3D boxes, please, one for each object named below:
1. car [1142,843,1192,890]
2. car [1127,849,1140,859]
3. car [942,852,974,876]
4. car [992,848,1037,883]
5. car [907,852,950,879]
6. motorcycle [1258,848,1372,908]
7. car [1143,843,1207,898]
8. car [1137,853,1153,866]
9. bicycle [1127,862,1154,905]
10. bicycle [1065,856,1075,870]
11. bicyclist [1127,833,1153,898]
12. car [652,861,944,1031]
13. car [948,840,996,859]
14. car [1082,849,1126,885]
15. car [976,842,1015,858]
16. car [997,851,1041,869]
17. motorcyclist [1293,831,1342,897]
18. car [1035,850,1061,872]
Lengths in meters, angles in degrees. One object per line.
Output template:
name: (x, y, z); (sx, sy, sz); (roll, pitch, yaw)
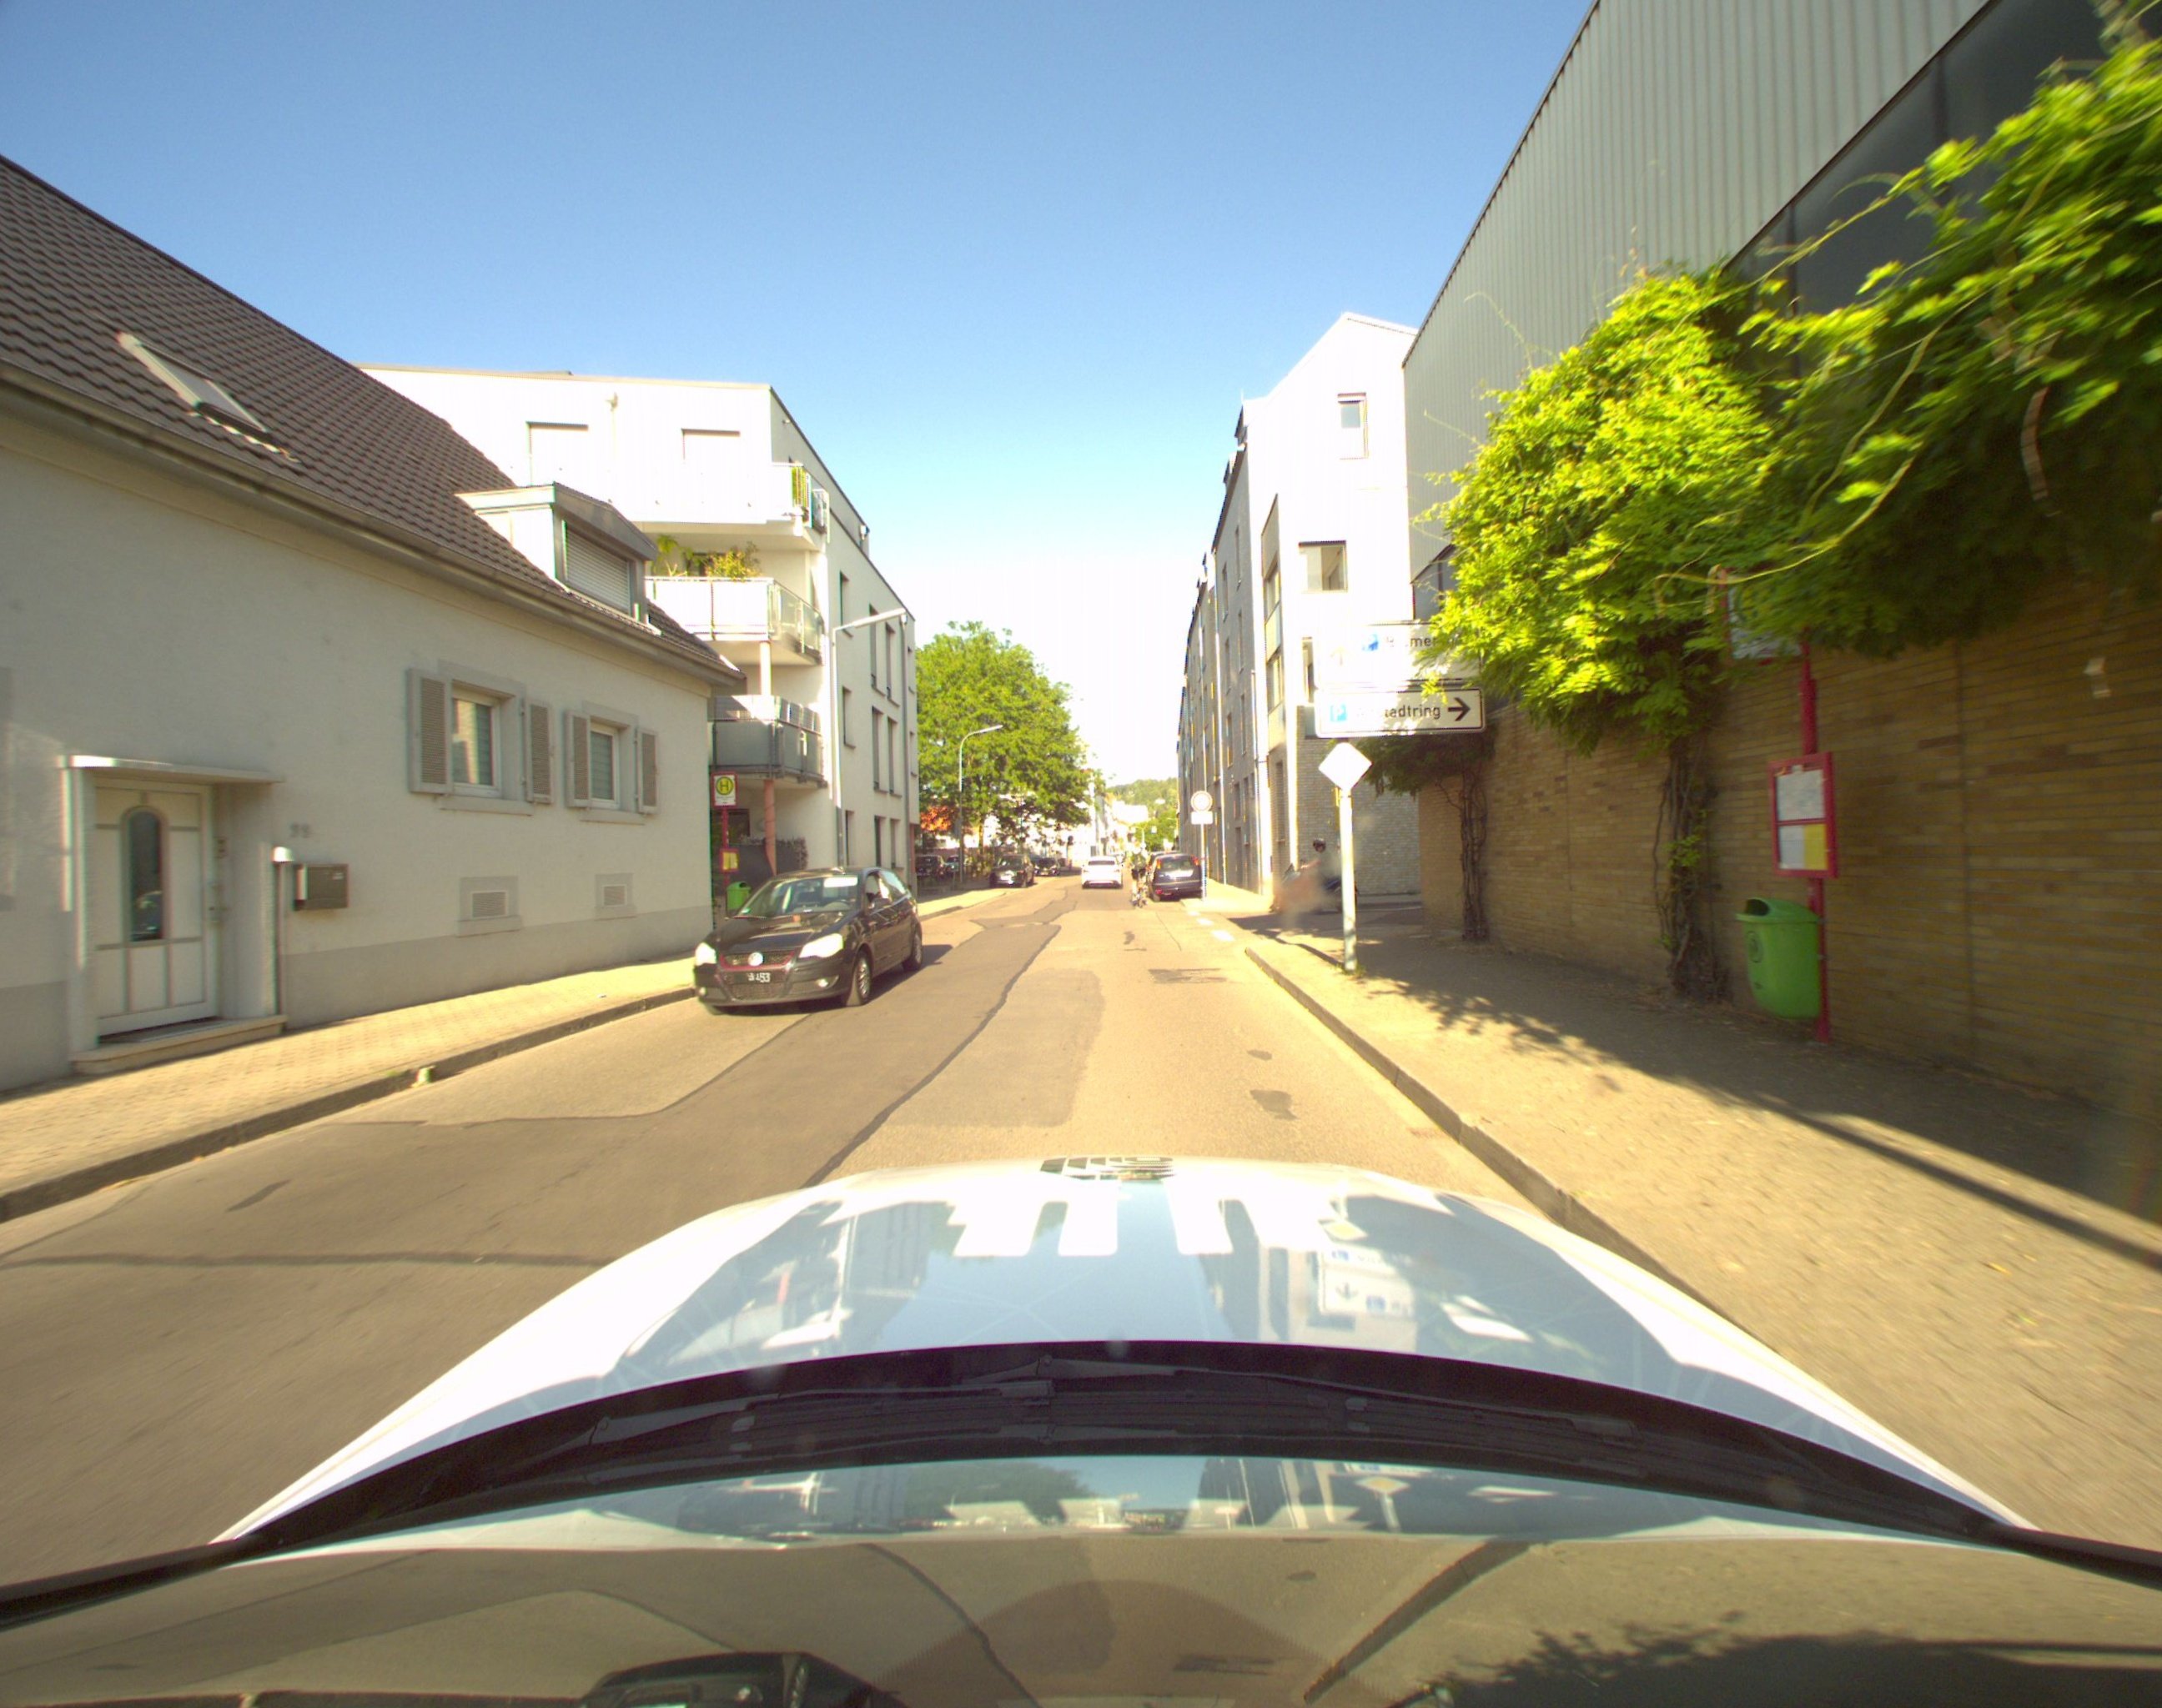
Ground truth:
car: (3.309, 0.439, 31.912); (1.658, 1.702, 3.916); (-1, 0, 2)
car: (9.312, -0.084, 143.400); (1.935, 1.587, 4.630); (-4, 0, 7)
car: (-9.246, 0.714, 61.579); (1.784, 1.689, 3.964); (1, 0, 0)
car: (-3.588, 0.610, 44.576); (1.845, 1.791, 4.611); (-1, 0, 3)
car: (-9.412, 0.671, 50.507); (1.852, 1.587, 4.619); (1, 0, -1)
motorcycle: (5.366, 0.559, 18.749); (2.312, 1.281, 0.901); (-3, -2, 30)
car: (3.072, 0.526, 27.276); (1.624, 1.587, 4.070); (-4, 0, 1)
car: (9.129, 0.810, 116.207); (1.847, 1.791, 4.606); (-1, 0, 0)
bicycle: (1.672, 0.807, 23.163); (0.695, 1.130, 2.404); (-1, -1, 3)
bicycle: (-1.066, 0.856, 77.972); (0.832, 1.217, 2.843); (-1, 0, 1)
bicyclist: (1.663, 0.320, 23.154); (0.695, 1.790, 1.041); (-1, -1, 2)
car: (-3.030, 0.887, 9.769); (1.835, 1.491, 4.146); (-4, -1, 2)
car: (-9.585, -0.409, 71.755); (3.880, 1.575, 1.713); (-1, 0, 6)
car: (0.987, 0.572, 36.551); (1.836, 1.491, 4.144); (-1, -1, 0)
car: (-8.797, -0.381, 83.729); (3.896, 1.575, 1.706); (-1, 0, -6)
car: (-5.806, 0.550, 76.982); (3.883, 1.575, 1.712); (-1, 0, 4)
motorcyclist: (5.441, 0.224, 18.706); (0.868, 1.473, 0.901); (-1, -1, 31)
car: (-2.506, 0.528, 63.039); (1.698, 1.575, 3.915); (-1, 0, 1)
